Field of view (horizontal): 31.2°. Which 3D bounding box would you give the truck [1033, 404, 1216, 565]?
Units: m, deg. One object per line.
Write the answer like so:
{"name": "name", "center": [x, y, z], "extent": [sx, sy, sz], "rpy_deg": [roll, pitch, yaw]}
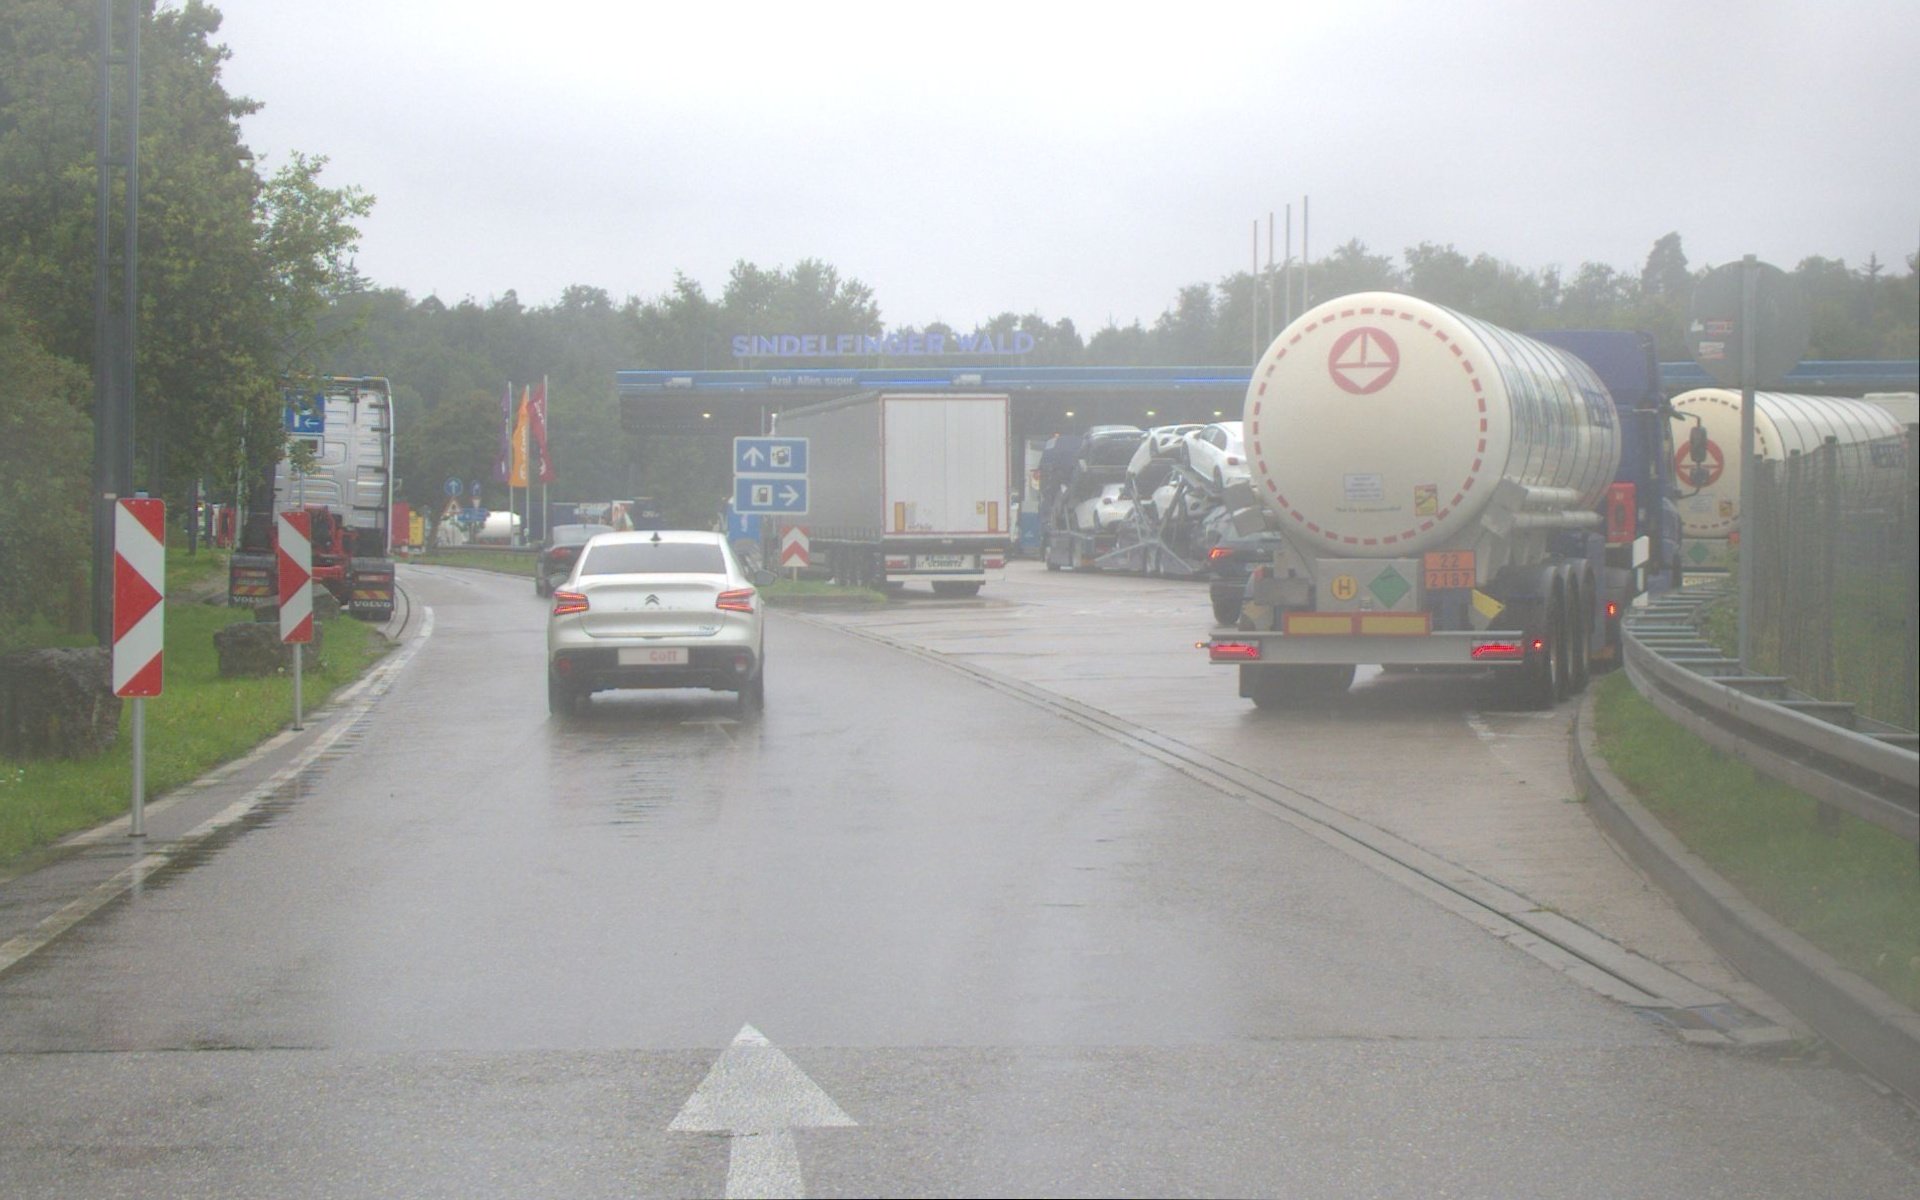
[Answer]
{"name": "truck", "center": [4.398, -3.151, 94.151], "extent": [3.233, 4.174, 8.446], "rpy_deg": [1, 2, -9]}

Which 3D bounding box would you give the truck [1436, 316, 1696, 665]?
{"name": "truck", "center": [6.646, -1.170, 37.308], "extent": [2.055, 3.519, 4.742], "rpy_deg": [1, 1, 19]}

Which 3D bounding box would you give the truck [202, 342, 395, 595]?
{"name": "truck", "center": [-10.828, -2.108, 56.268], "extent": [2.914, 3.891, 6.318], "rpy_deg": [0, 1, -11]}

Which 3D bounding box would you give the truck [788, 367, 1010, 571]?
{"name": "truck", "center": [-1.451, -2.679, 71.586], "extent": [2.370, 3.860, 12.459], "rpy_deg": [-1, 2, -11]}

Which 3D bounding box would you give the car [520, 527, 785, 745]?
{"name": "car", "center": [-2.528, 0.283, 29.132], "extent": [1.993, 1.673, 4.000], "rpy_deg": [-1, 0, -2]}

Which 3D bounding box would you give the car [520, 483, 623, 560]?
{"name": "car", "center": [-7.756, -1.564, 68.920], "extent": [1.878, 1.456, 4.001], "rpy_deg": [1, 1, -4]}

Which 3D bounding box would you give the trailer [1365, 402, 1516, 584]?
{"name": "trailer", "center": [12.590, -2.765, 90.861], "extent": [1.993, 4.543, 9.811], "rpy_deg": [0, 1, -3]}

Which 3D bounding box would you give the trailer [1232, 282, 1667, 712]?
{"name": "trailer", "center": [4.684, -0.887, 30.883], "extent": [1.982, 3.213, 10.312], "rpy_deg": [1, 1, 19]}

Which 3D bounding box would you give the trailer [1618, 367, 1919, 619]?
{"name": "trailer", "center": [12.526, -1.582, 51.772], "extent": [2.134, 3.428, 10.237], "rpy_deg": [1, 2, 28]}

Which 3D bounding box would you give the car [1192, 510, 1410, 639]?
{"name": "car", "center": [5.014, -0.341, 50.089], "extent": [1.745, 1.662, 3.993], "rpy_deg": [2, -1, 27]}

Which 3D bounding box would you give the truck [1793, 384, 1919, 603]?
{"name": "truck", "center": [15.609, -1.762, 57.470], "extent": [2.149, 3.501, 4.639], "rpy_deg": [1, 2, 28]}

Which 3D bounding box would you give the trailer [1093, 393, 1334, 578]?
{"name": "trailer", "center": [6.021, -2.795, 84.283], "extent": [3.215, 4.174, 11.533], "rpy_deg": [1, 2, -9]}

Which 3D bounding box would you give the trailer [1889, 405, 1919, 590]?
{"name": "trailer", "center": [20.149, -1.954, 65.586], "extent": [2.187, 3.380, 7.549], "rpy_deg": [1, 2, 36]}
